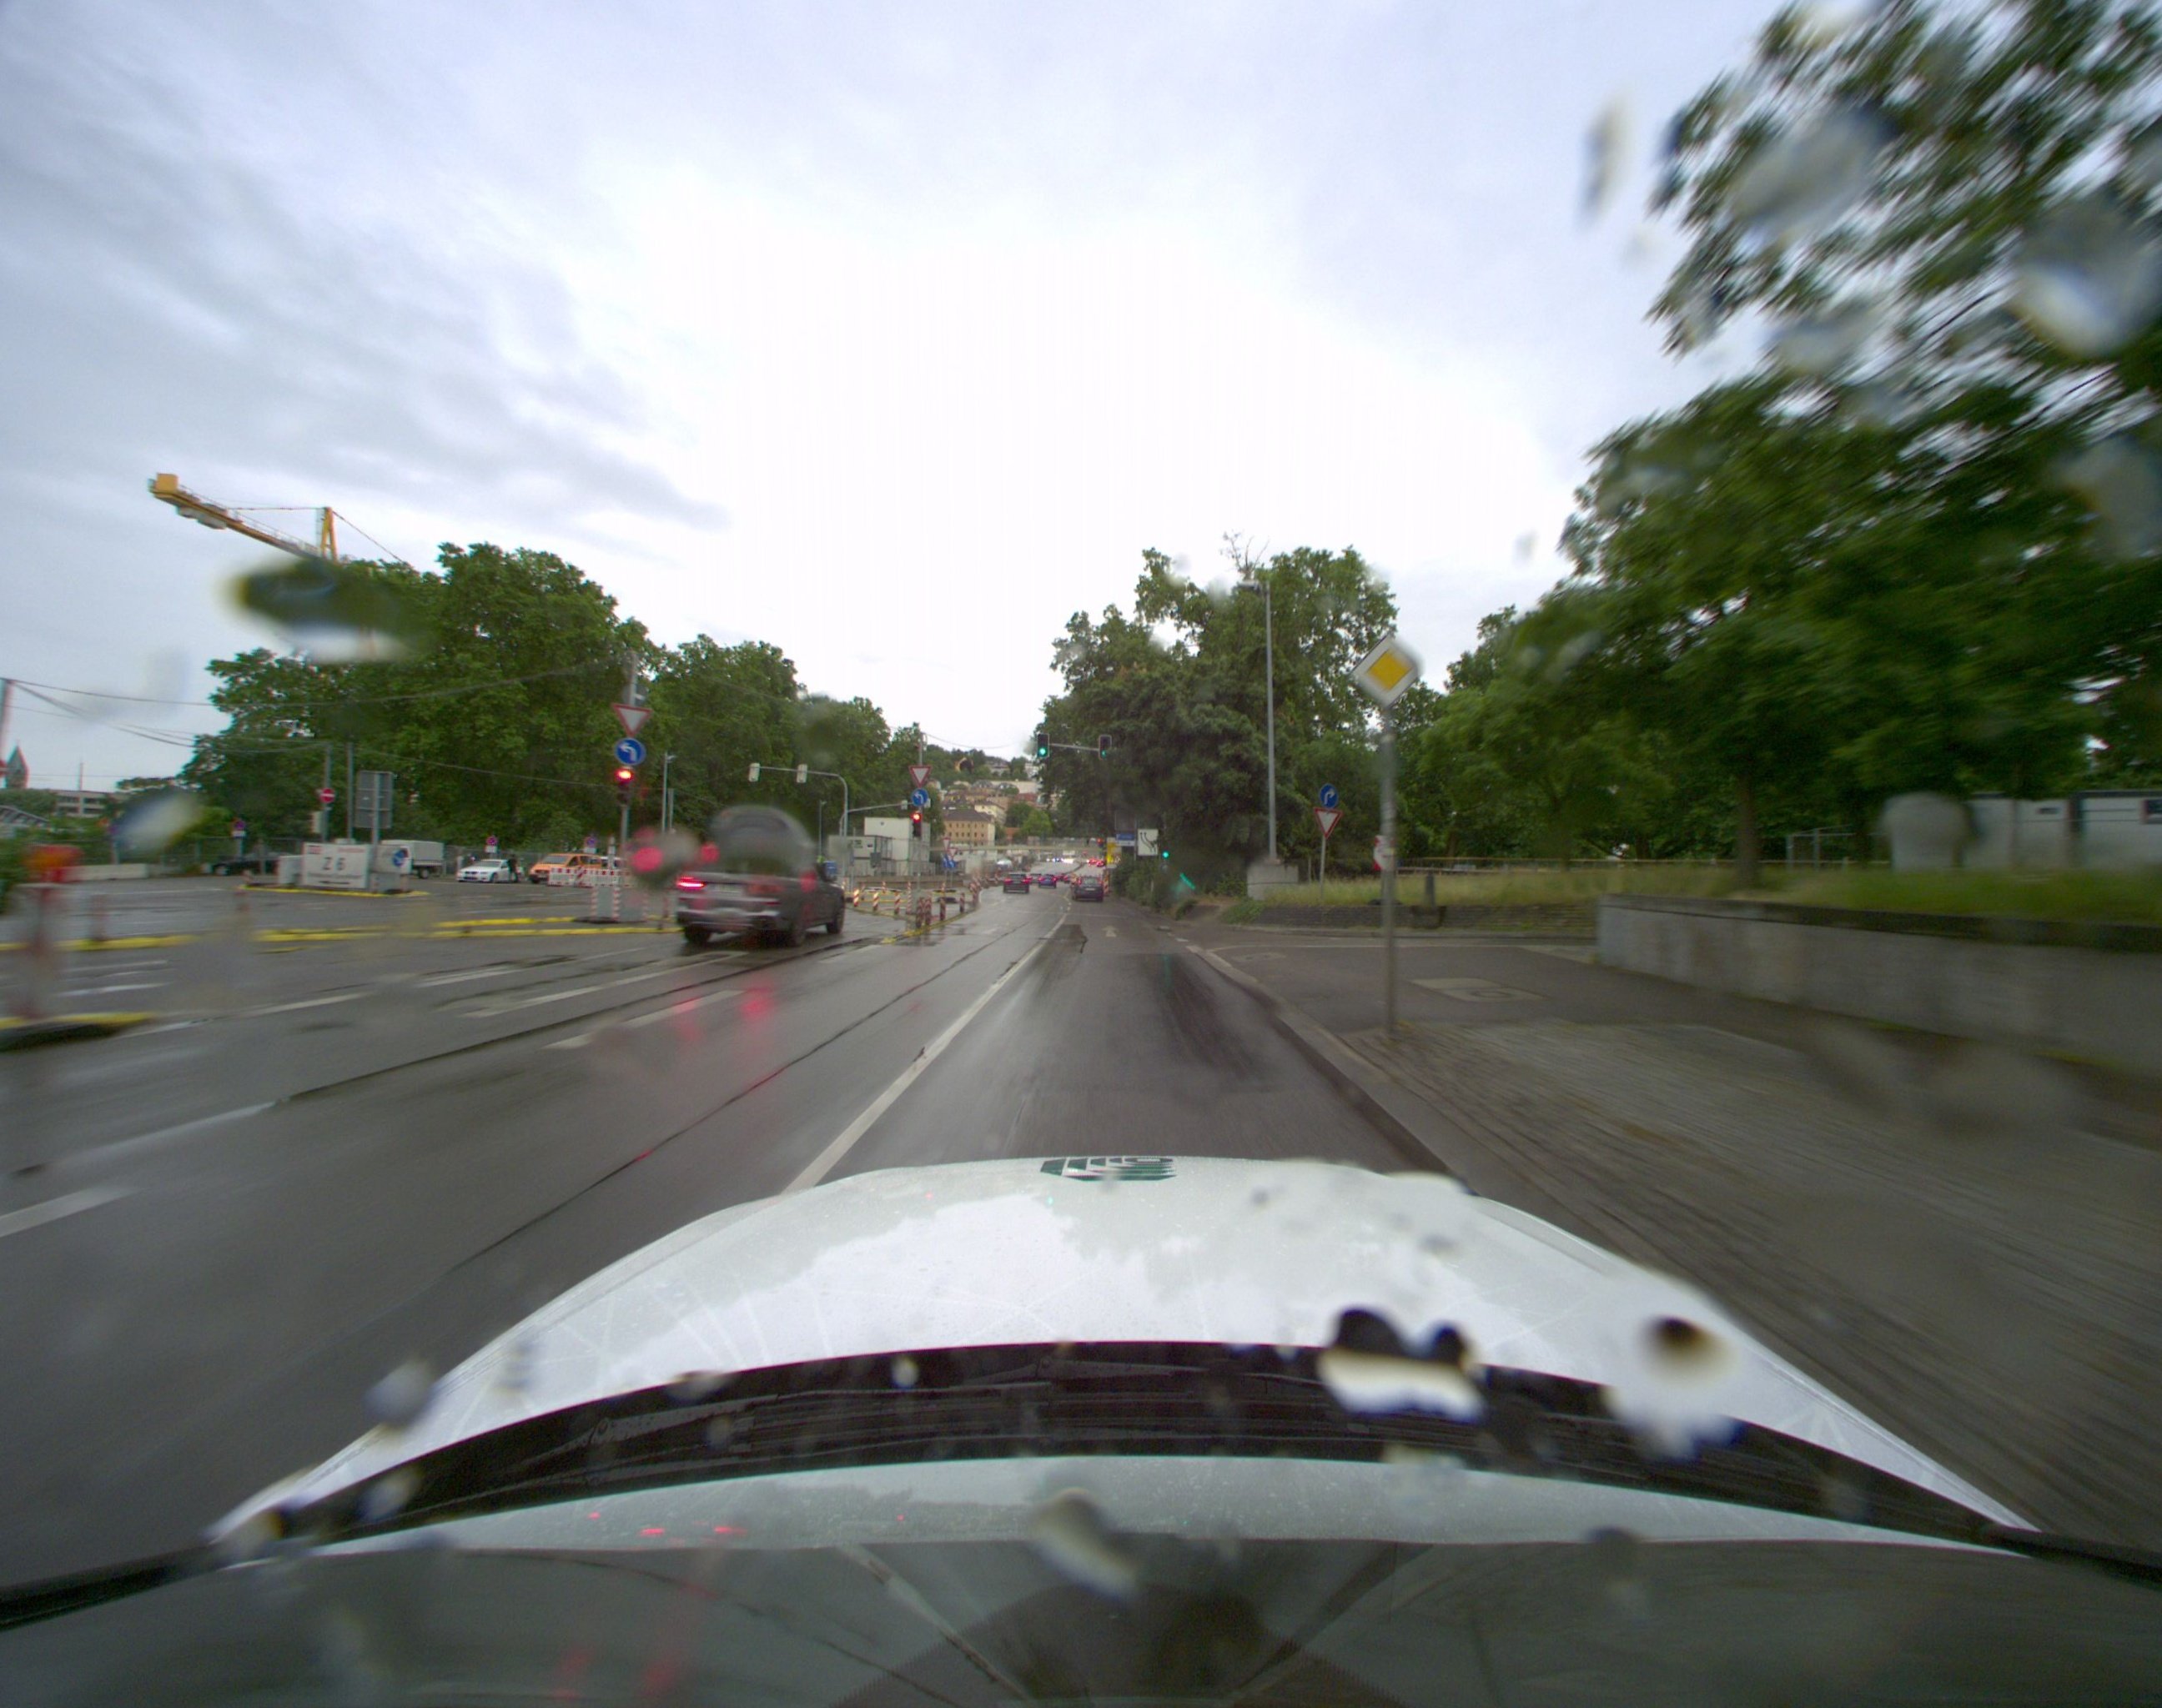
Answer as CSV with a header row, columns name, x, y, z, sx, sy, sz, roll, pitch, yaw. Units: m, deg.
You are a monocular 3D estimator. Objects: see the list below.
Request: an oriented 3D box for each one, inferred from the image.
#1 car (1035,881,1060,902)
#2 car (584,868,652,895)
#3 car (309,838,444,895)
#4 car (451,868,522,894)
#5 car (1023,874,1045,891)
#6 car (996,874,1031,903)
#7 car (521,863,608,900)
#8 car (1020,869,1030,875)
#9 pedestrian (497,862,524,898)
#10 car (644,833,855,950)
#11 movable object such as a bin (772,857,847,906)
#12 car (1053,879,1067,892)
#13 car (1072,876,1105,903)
name,x,y,z,sx,sy,sz,roll,pitch,yaw
car,-3.321,3.778,82.157,2.096,2.051,4.002,0,-3,3
car,-31.987,1.922,56.490,1.839,1.762,4.796,1,-3,1
car,-40.686,0.826,47.341,2.266,3.067,6.166,1,-3,0
car,-34.459,1.577,47.300,1.758,1.415,3.819,1,-3,-10
car,-5.645,3.401,98.473,1.984,2.014,4.006,0,-1,5
car,-4.934,2.569,59.462,2.018,2.014,3.982,1,-3,-13
car,-31.895,1.747,50.559,1.988,2.101,5.576,-1,-3,-2
car,-14.467,4.590,209.970,1.983,1.622,4.007,1,-1,7
pedestrian,-33.150,1.511,47.315,0.918,2.014,0.737,1,-3,-5
car,-6.209,0.752,16.099,2.204,1.863,5.066,2,-3,-3
movable object such as a bin,-28.397,2.956,85.711,4.733,4.804,8.359,1,-3,1
car,-3.337,5.164,131.690,2.043,2.014,4.001,1,-3,2
car,0.389,2.089,47.561,1.807,1.527,3.997,0,-3,-1
